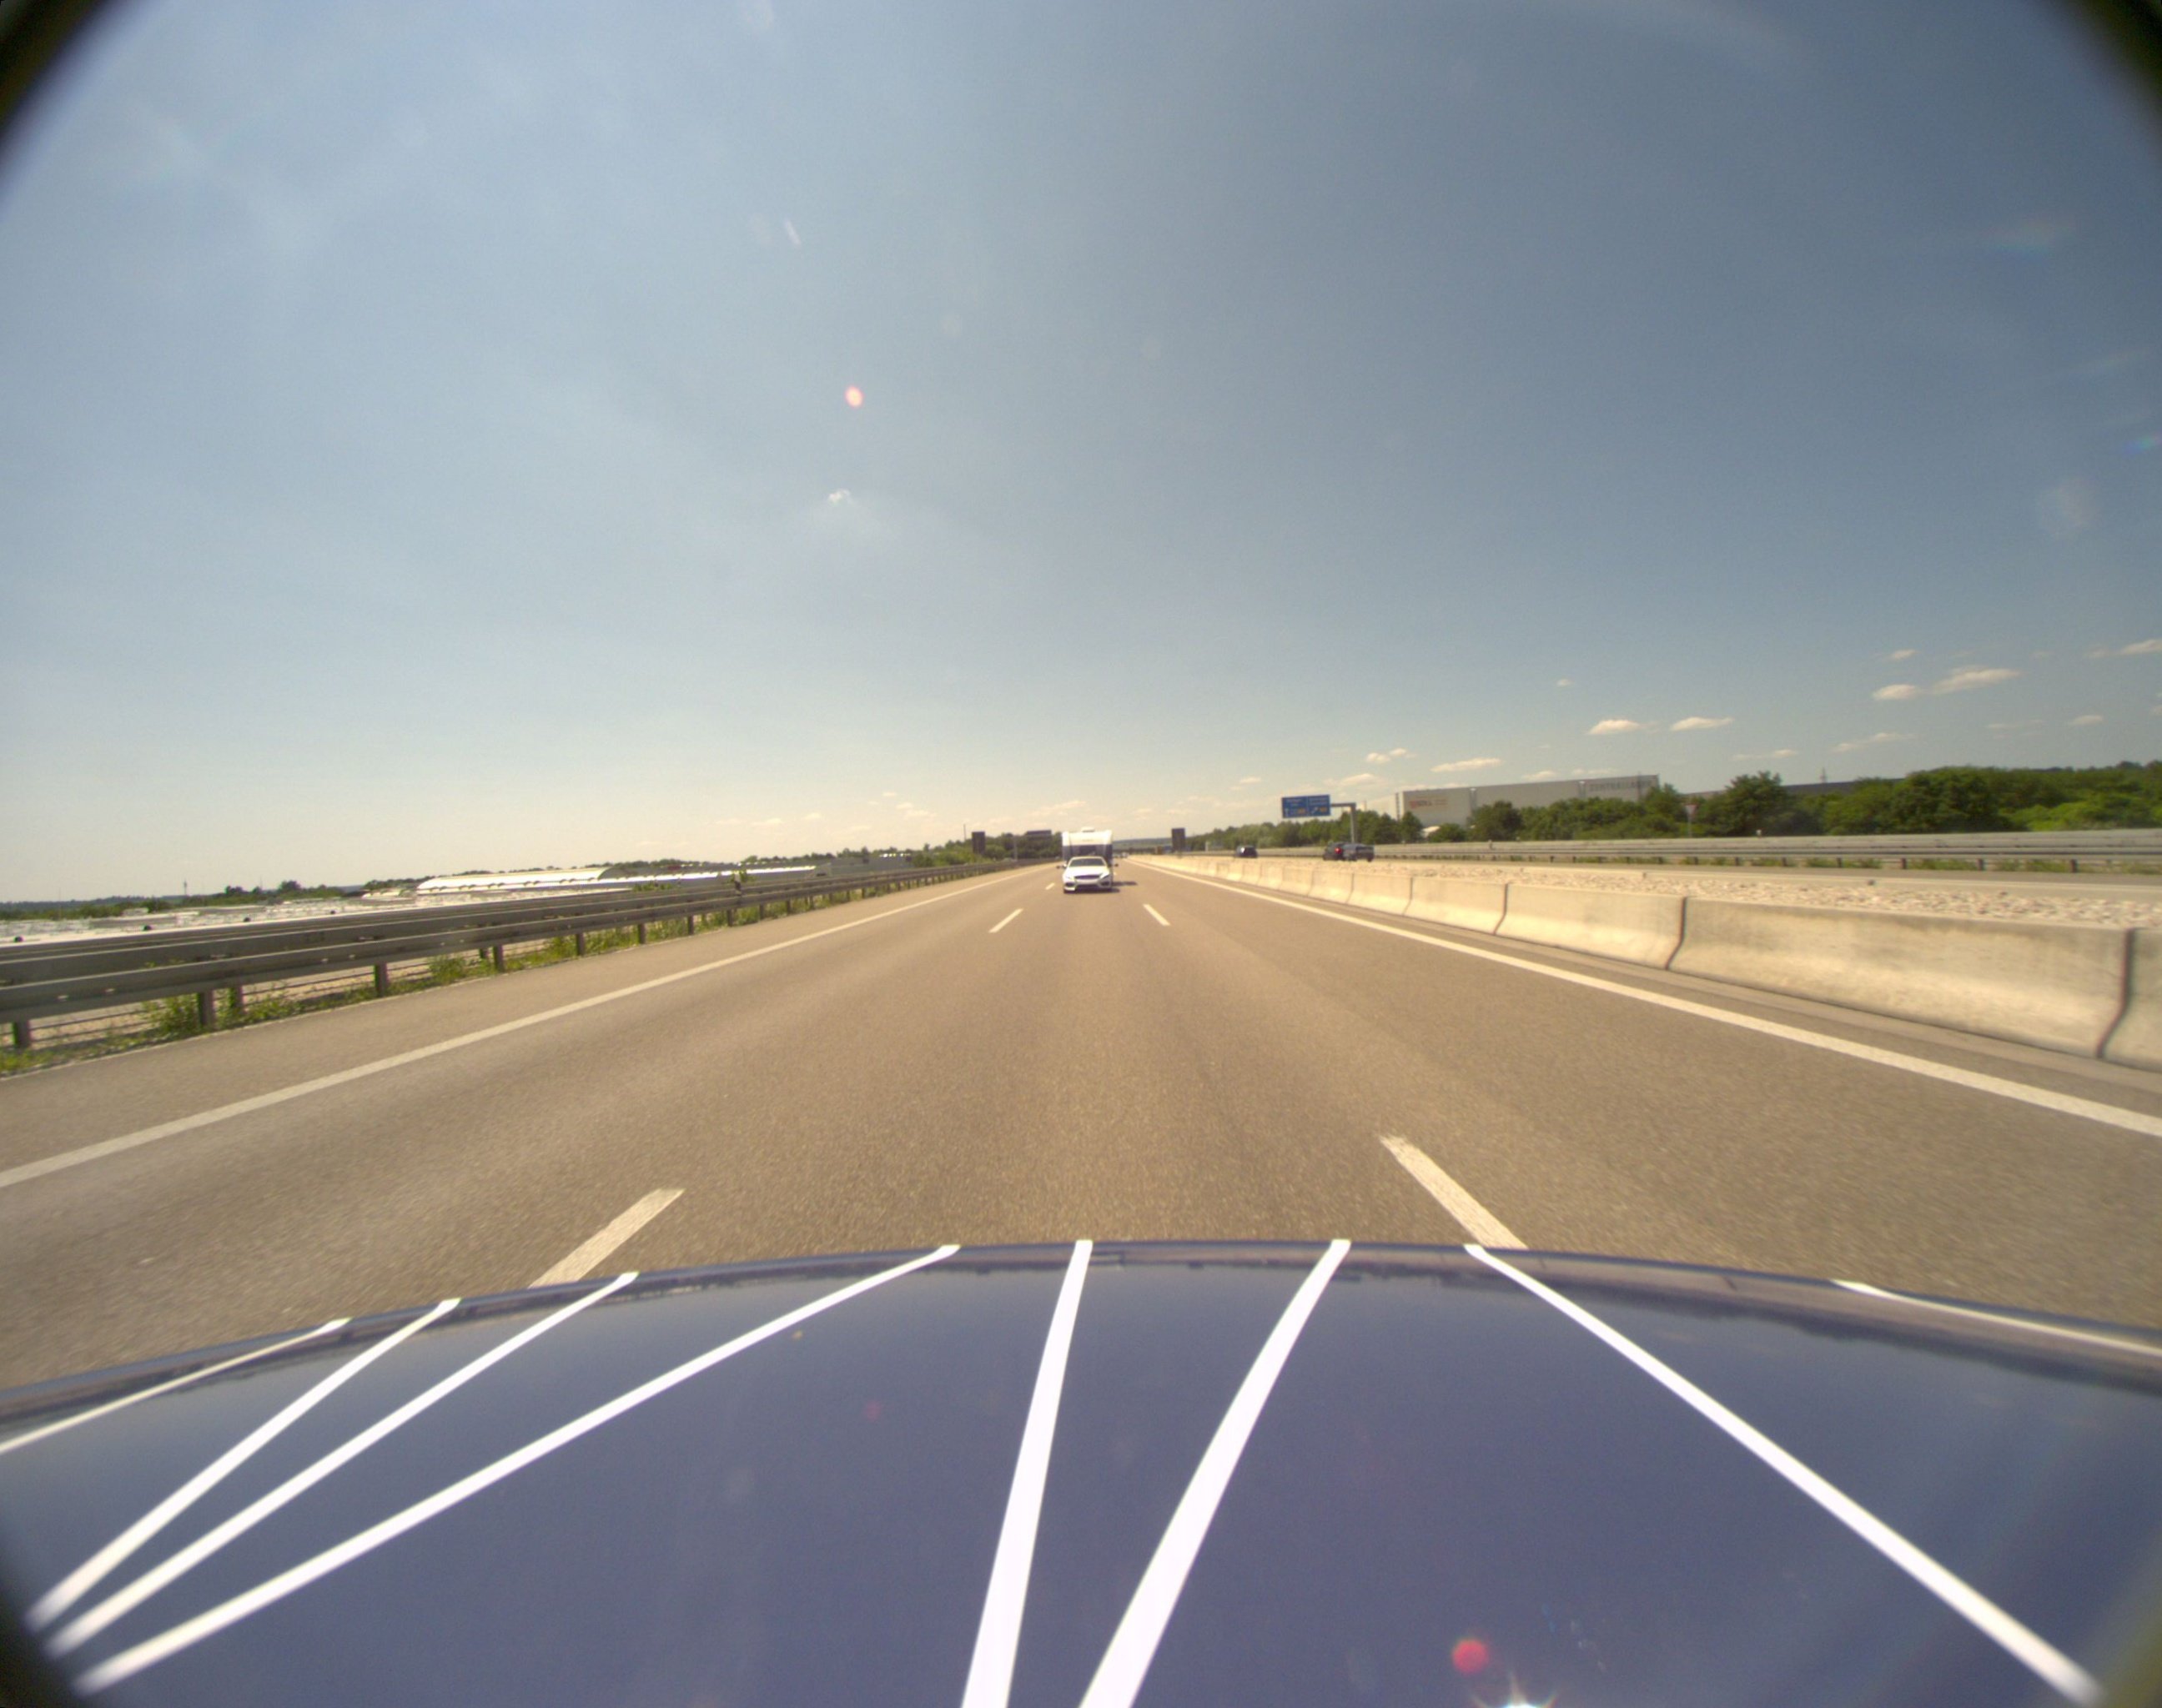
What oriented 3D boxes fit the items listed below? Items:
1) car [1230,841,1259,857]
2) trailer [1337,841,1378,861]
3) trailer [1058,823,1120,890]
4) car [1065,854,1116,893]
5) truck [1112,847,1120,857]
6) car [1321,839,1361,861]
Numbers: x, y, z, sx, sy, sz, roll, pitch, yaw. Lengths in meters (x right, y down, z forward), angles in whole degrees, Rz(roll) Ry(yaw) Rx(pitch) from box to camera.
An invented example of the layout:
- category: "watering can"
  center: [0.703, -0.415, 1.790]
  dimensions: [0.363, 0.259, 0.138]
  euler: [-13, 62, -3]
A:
- category: "car"
  center: [16.694, -0.495, 77.767]
  dimensions: [2.036, 1.464, 4.371]
  euler: [-2, 0, 1]
- category: "trailer"
  center: [20.338, -0.228, 55.997]
  dimensions: [1.760, 1.427, 3.683]
  euler: [-1, 1, 1]
- category: "trailer"
  center: [0.393, 0.073, 35.267]
  dimensions: [2.501, 2.686, 7.154]
  euler: [-2, 1, 1]
- category: "car"
  center: [0.372, 0.728, 29.957]
  dimensions: [1.873, 1.352, 3.672]
  euler: [-1, 1, 1]
- category: "truck"
  center: [10.708, -0.588, 232.110]
  dimensions: [2.168, 2.797, 6.492]
  euler: [-2, 0, 5]
- category: "car"
  center: [20.440, -0.315, 59.833]
  dimensions: [1.796, 1.541, 4.000]
  euler: [-2, 0, 1]
